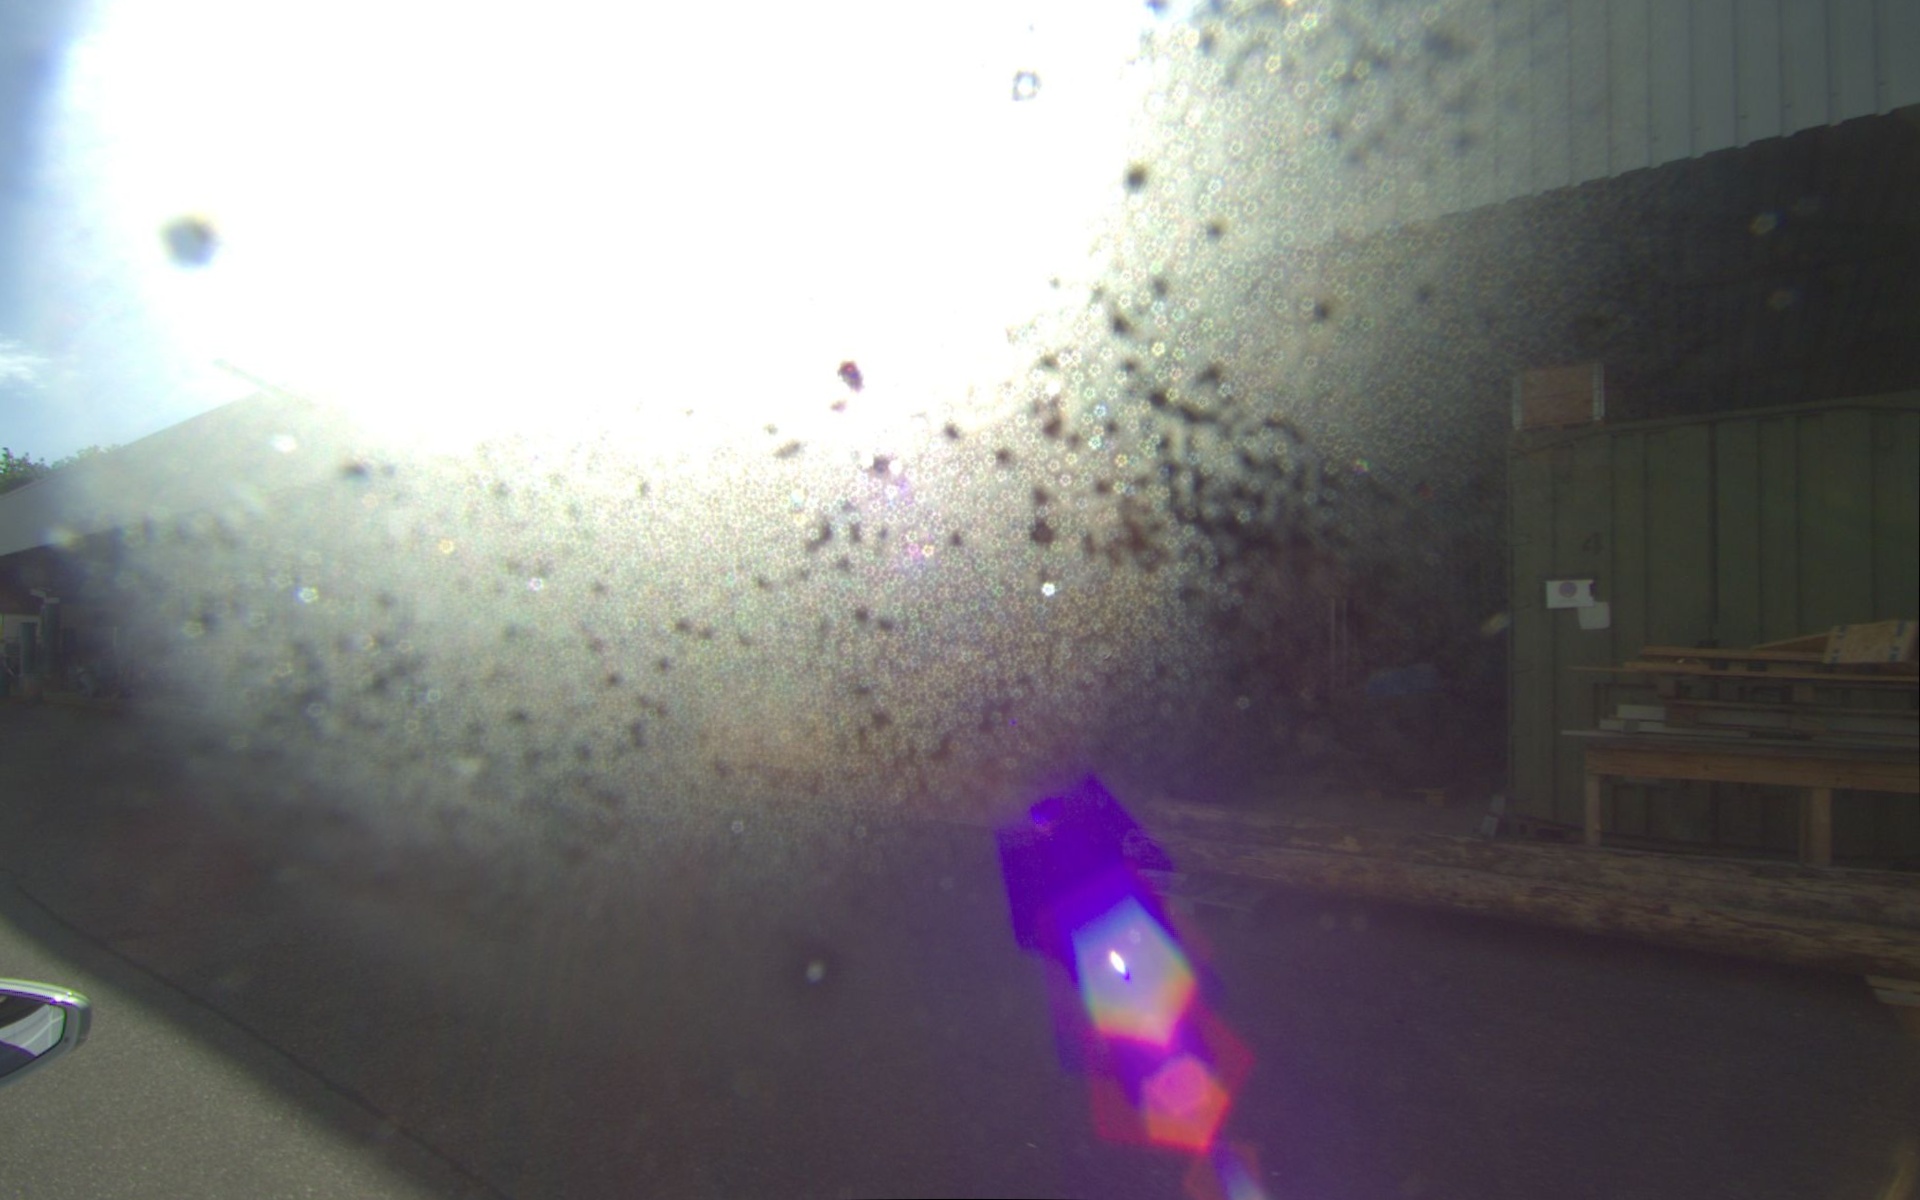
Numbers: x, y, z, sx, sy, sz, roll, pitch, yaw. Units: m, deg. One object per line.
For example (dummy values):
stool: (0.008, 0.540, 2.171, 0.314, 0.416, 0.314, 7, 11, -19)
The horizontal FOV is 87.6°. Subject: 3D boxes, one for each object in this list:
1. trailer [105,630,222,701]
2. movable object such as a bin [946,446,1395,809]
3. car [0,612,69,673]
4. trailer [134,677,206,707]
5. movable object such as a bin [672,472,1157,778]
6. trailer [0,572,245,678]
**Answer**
trailer: (-18.771, 1.546, 23.609, 1.886, 1.537, 1.544, 1, -5, 33)
movable object such as a bin: (2.804, 0.386, 11.472, 2.651, 2.941, 6.336, -1, -3, 36)
car: (-39.098, 1.739, 41.069, 1.975, 2.472, 3.494, -1, -3, 37)
trailer: (-16.654, 1.936, 21.113, 0.722, 0.574, 0.970, 1, -5, 32)
movable object such as a bin: (-0.112, 0.419, 13.228, 2.651, 2.941, 6.916, -1, -3, 36)
trailer: (-29.583, 0.975, 35.452, 2.788, 3.412, 6.372, -1, -3, 36)
